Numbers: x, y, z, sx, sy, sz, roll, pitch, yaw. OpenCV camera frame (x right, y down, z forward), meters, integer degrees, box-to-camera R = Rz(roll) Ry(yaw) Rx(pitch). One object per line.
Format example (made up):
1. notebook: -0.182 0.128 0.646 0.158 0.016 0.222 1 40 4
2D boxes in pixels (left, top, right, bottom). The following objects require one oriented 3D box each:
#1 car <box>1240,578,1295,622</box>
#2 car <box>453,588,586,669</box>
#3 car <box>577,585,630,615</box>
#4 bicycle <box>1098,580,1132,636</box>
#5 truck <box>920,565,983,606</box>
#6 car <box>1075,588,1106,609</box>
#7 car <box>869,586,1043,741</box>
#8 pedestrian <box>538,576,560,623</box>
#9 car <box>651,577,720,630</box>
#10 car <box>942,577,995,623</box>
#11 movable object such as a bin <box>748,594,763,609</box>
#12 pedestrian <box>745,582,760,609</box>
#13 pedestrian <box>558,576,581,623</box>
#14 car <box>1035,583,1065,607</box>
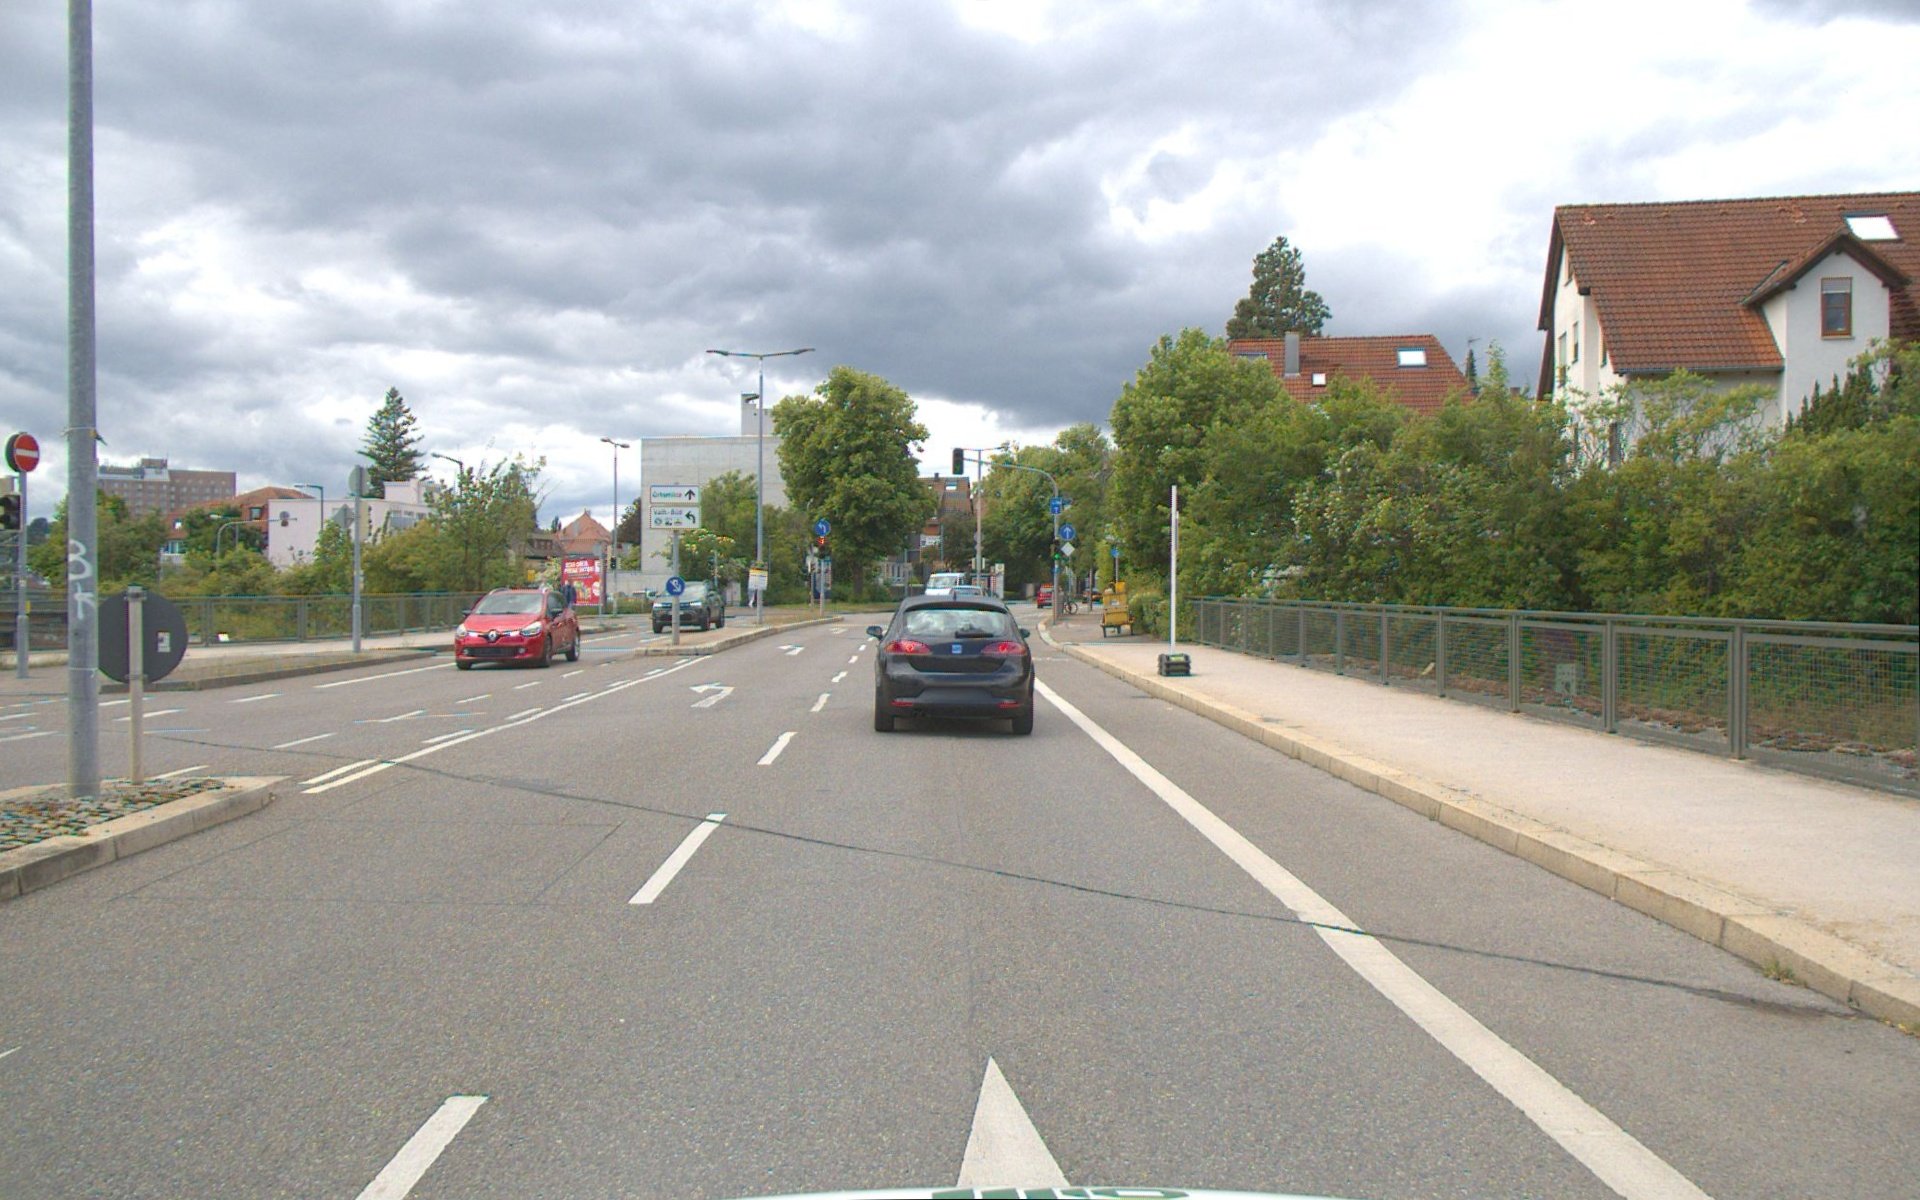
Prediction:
1. car: 11.038 -0.017 59.519 1.632 1.475 4.003 -1 0 6
2. car: -8.507 0.505 32.249 1.686 1.473 4.064 0 0 -3
3. car: -26.008 -0.010 120.720 1.952 2.048 4.002 2 0 18
4. bicycle: 4.459 0.218 47.801 0.873 1.537 2.785 -2 1 4
5. truck: -0.448 -0.875 98.907 2.080 2.304 6.811 -1 0 14
6. car: 11.129 -0.162 140.768 1.951 1.713 4.003 0 0 15
7. car: 0.034 0.629 18.625 1.723 1.474 3.716 2 1 2
8. pedestrian: -14.807 -0.016 59.573 0.643 1.662 0.832 1 0 -7
9. car: -9.006 0.097 54.523 1.786 1.655 4.276 0 0 -3
10. car: 0.369 -0.038 65.170 1.780 1.729 4.255 -1 1 4
11. movable object such as a bin: -11.945 0.083 96.584 0.641 0.812 0.898 0 0 7
12. pedestrian: -12.021 -0.274 95.897 0.641 1.549 0.924 0 0 7
13. pedestrian: -14.130 -0.022 59.832 0.643 1.662 1.069 1 0 -7
14. car: 5.869 -0.357 108.283 1.901 1.507 4.254 -1 1 2
